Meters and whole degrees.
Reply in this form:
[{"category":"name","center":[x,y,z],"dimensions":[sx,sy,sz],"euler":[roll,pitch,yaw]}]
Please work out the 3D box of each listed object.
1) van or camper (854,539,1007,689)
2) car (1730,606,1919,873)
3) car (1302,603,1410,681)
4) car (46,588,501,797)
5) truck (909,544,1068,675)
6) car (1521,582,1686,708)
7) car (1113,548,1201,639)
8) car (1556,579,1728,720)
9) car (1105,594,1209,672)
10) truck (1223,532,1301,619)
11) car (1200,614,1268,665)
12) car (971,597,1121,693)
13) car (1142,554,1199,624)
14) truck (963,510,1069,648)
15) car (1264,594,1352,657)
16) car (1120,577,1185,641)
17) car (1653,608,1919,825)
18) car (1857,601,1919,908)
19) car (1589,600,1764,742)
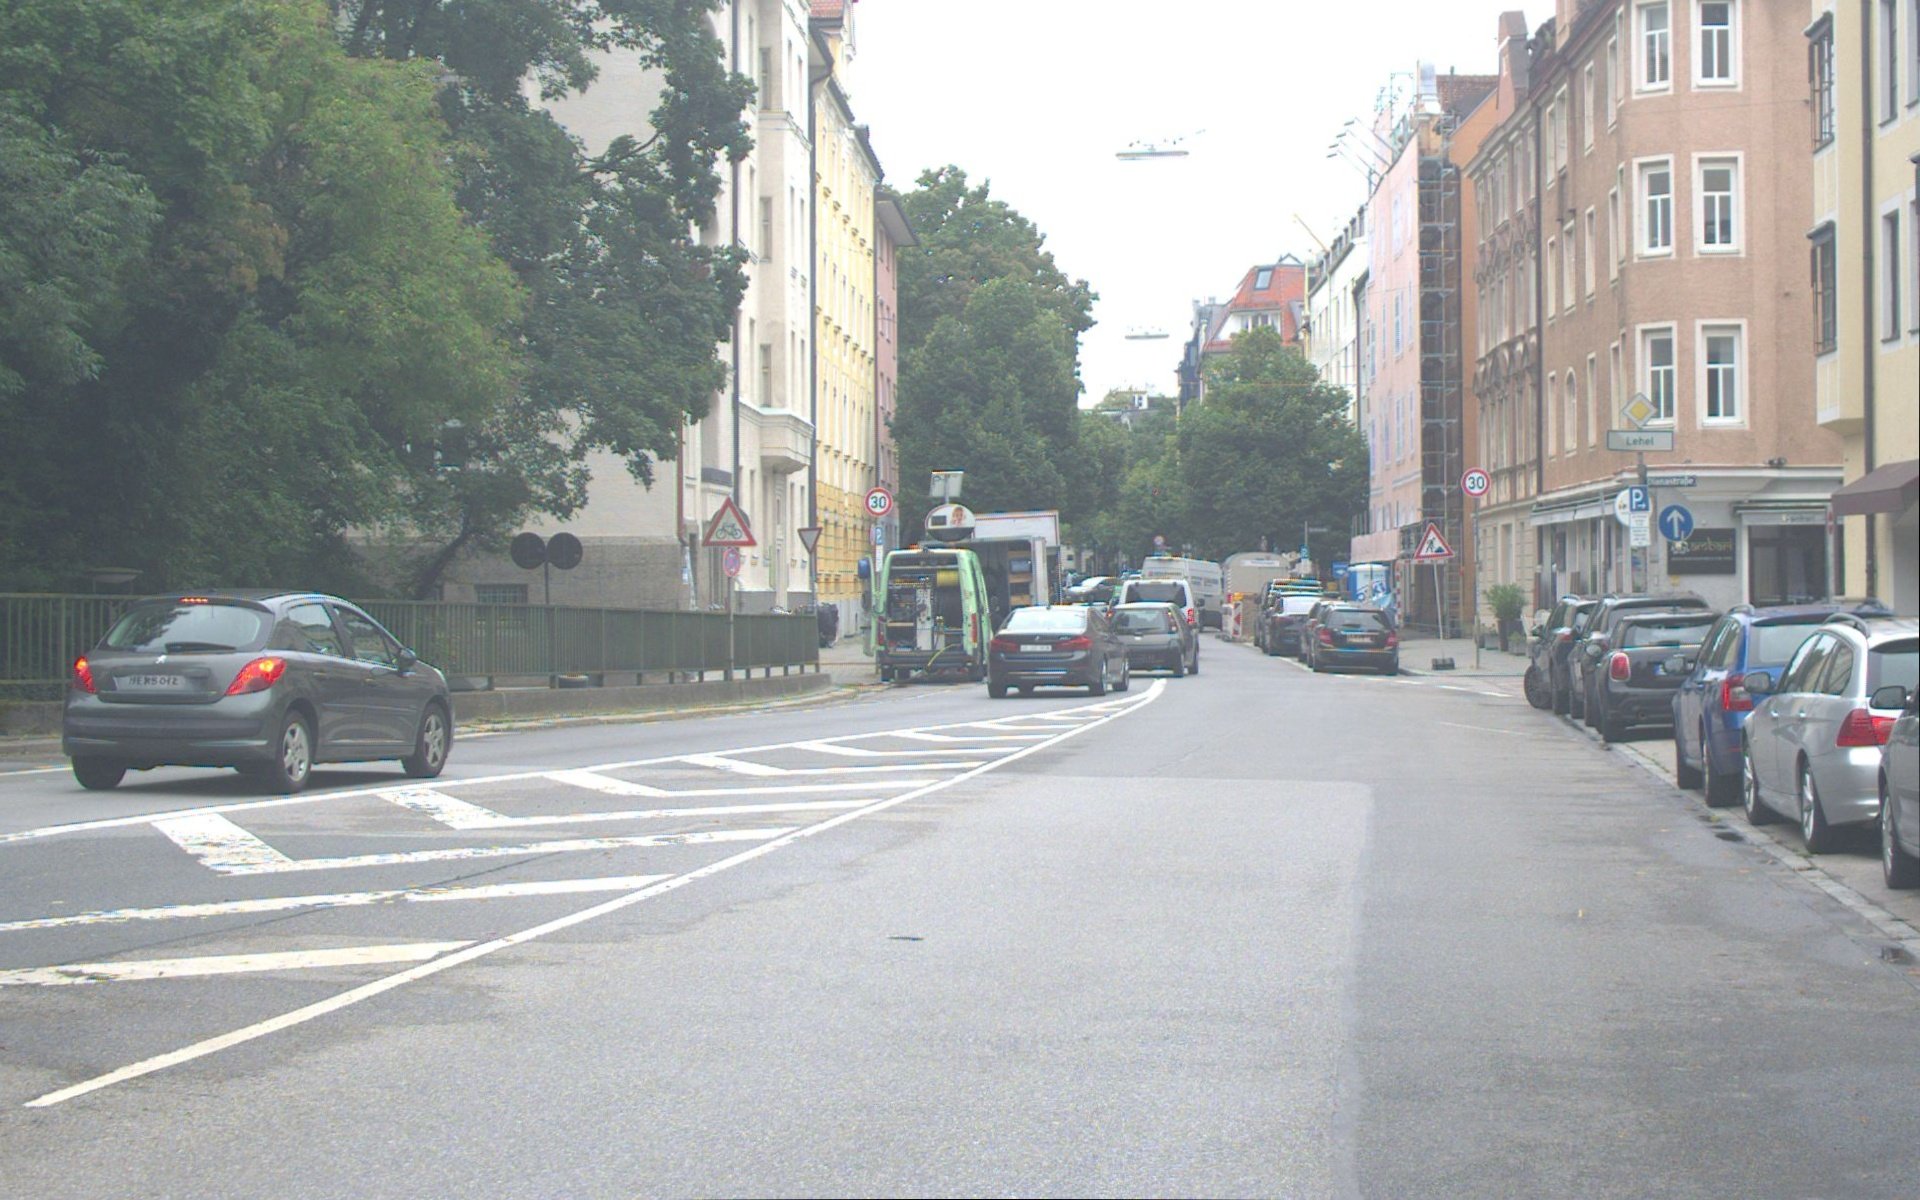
[{"category":"van or camper","center":[-0.524,0.222,68.253],"dimensions":[2.601,2.830,6.185],"euler":[0,1,4]},{"category":"car","center":[5.978,0.794,21.740],"dimensions":[1.691,1.491,4.433],"euler":[-1,0,7]},{"category":"car","center":[8.309,0.863,72.465],"dimensions":[1.844,1.424,4.183],"euler":[3,1,2]},{"category":"car","center":[-5.095,0.651,26.087],"dimensions":[1.760,1.456,4.071],"euler":[0,0,15]},{"category":"truck","center":[0.721,0.150,78.531],"dimensions":[2.774,2.863,7.199],"euler":[0,1,7]},{"category":"car","center":[9.182,0.622,49.348],"dimensions":[1.819,1.674,4.510],"euler":[-1,0,4]},{"category":"car","center":[4.623,-0.177,80.582],"dimensions":[1.990,2.068,4.140],"euler":[0,1,4]},{"category":"car","center":[8.643,0.604,43.884],"dimensions":[1.757,1.674,4.705],"euler":[-1,0,7]},{"category":"car","center":[3.889,0.631,67.705],"dimensions":[1.990,1.424,4.140],"euler":[0,1,4]},{"category":"truck","center":[10.578,-0.834,120.760],"dimensions":[2.492,2.963,5.327],"euler":[0,0,2]},{"category":"car","center":[8.336,1.190,104.716],"dimensions":[1.990,1.424,4.140],"euler":[0,1,4]},{"category":"car","center":[1.438,0.695,55.740],"dimensions":[1.990,1.424,4.904],"euler":[0,1,7]},{"category":"car","center":[7.623,-0.389,124.026],"dimensions":[1.940,2.472,4.782],"euler":[0,0,5]},{"category":"truck","center":[1.684,-0.598,101.762],"dimensions":[3.012,3.938,6.995],"euler":[0,0,2]},{"category":"car","center":[8.777,0.623,87.039],"dimensions":[1.844,1.424,4.306],"euler":[3,1,2]},{"category":"car","center":[6.147,0.275,110.117],"dimensions":[1.994,2.007,4.000],"euler":[0,0,2]},{"category":"car","center":[6.431,0.832,26.481],"dimensions":[1.757,1.491,4.486],"euler":[-1,0,7]},{"category":"car","center":[5.481,0.736,16.740],"dimensions":[1.628,1.491,3.785],"euler":[-1,0,7]},{"category":"car","center":[8.059,0.764,38.924],"dimensions":[1.757,1.491,3.821],"euler":[-1,0,10]}]
